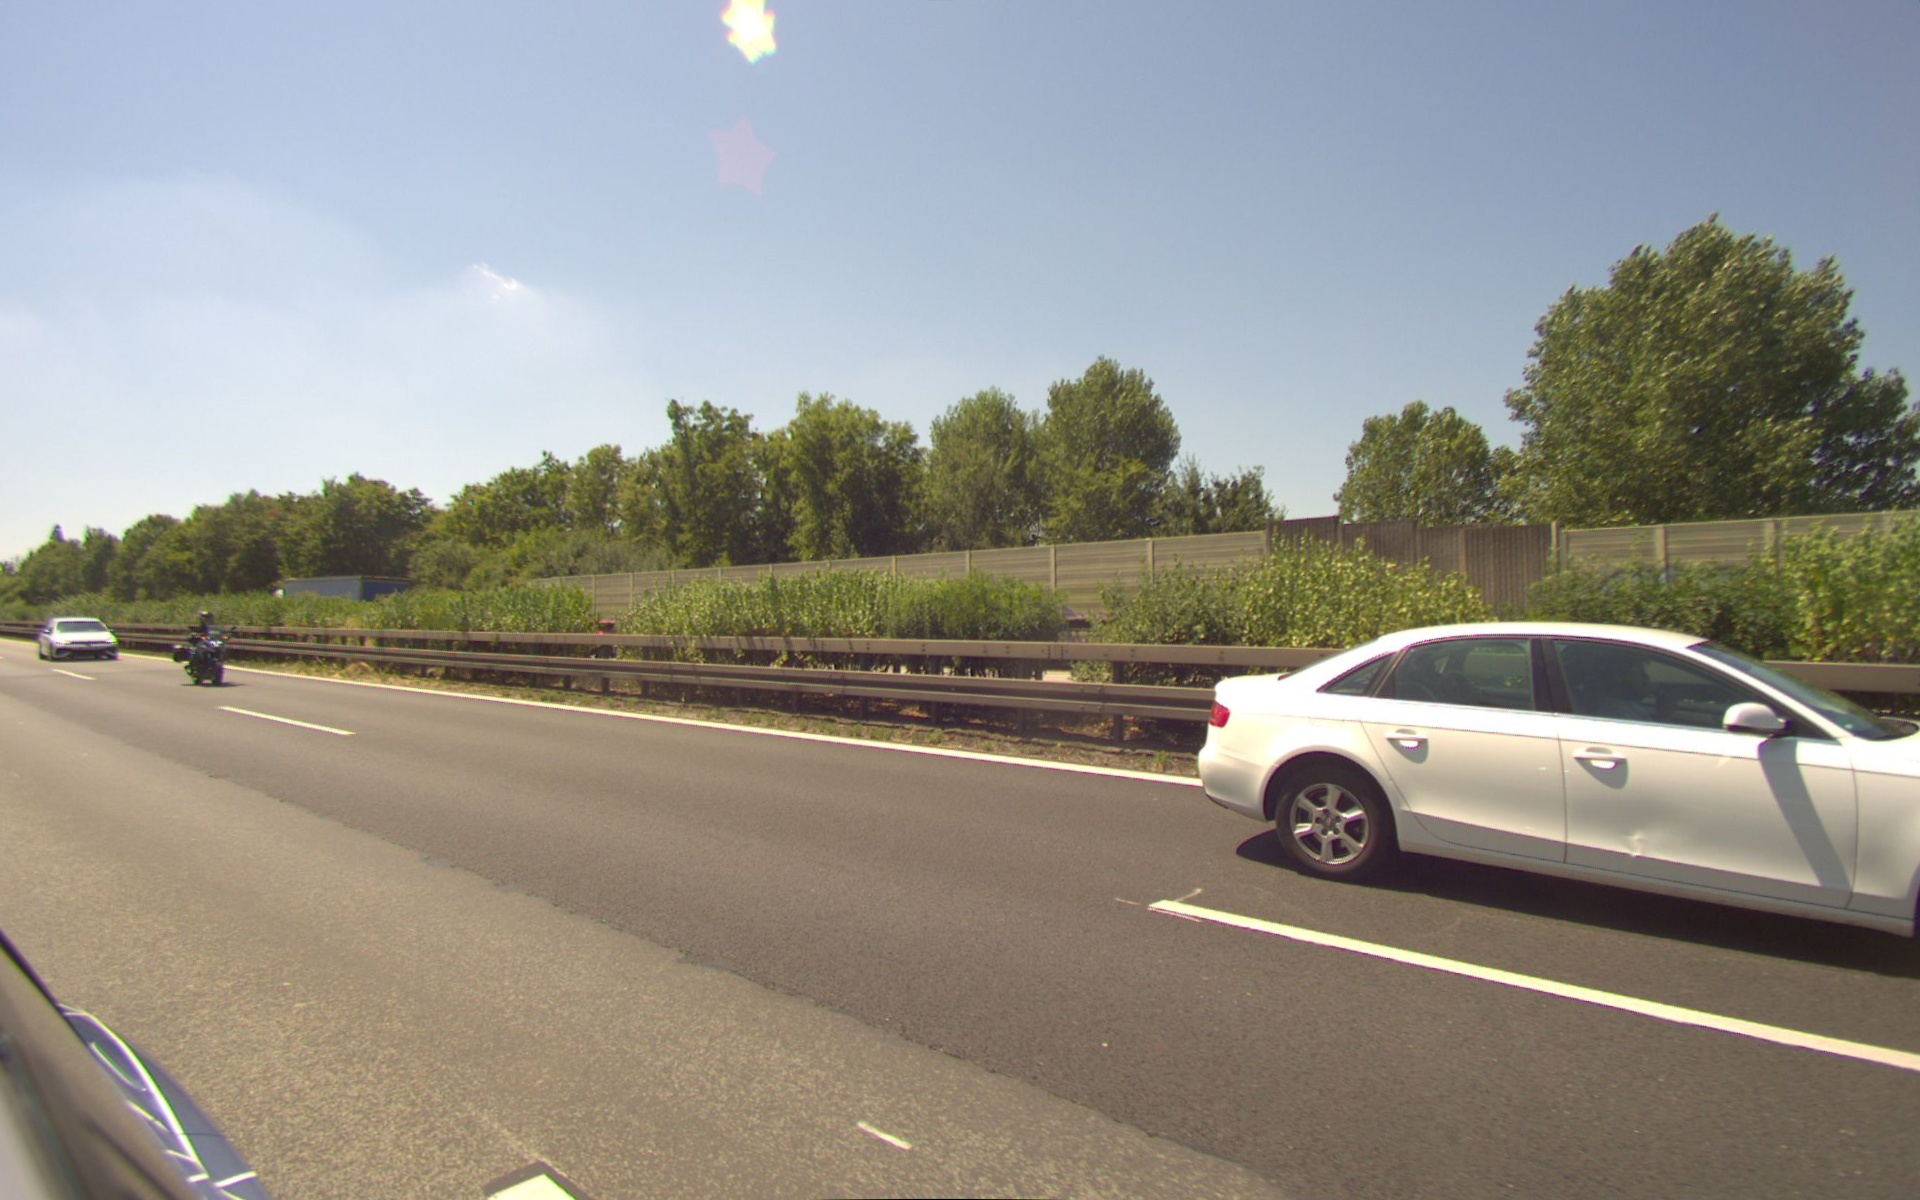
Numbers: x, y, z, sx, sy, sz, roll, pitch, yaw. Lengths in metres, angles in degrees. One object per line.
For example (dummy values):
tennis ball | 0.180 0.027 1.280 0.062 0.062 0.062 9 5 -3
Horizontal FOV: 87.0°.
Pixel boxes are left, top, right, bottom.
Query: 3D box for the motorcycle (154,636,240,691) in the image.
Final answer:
motorcycle | -17.030 1.383 22.559 2.847 1.097 0.904 0 0 39

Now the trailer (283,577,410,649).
trailer | -37.037 0.828 60.712 13.669 3.882 2.677 -1 -1 42

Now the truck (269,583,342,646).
truck | -42.346 0.959 65.462 5.089 3.882 2.643 -1 -1 41

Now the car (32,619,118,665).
car | -30.696 1.416 35.057 4.668 1.451 1.762 -1 -1 43

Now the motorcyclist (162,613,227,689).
motorcyclist | -17.065 1.109 22.563 1.298 1.609 0.884 0 0 40

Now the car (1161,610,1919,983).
car | 3.757 0.785 5.160 5.123 1.451 1.857 -1 -1 41
